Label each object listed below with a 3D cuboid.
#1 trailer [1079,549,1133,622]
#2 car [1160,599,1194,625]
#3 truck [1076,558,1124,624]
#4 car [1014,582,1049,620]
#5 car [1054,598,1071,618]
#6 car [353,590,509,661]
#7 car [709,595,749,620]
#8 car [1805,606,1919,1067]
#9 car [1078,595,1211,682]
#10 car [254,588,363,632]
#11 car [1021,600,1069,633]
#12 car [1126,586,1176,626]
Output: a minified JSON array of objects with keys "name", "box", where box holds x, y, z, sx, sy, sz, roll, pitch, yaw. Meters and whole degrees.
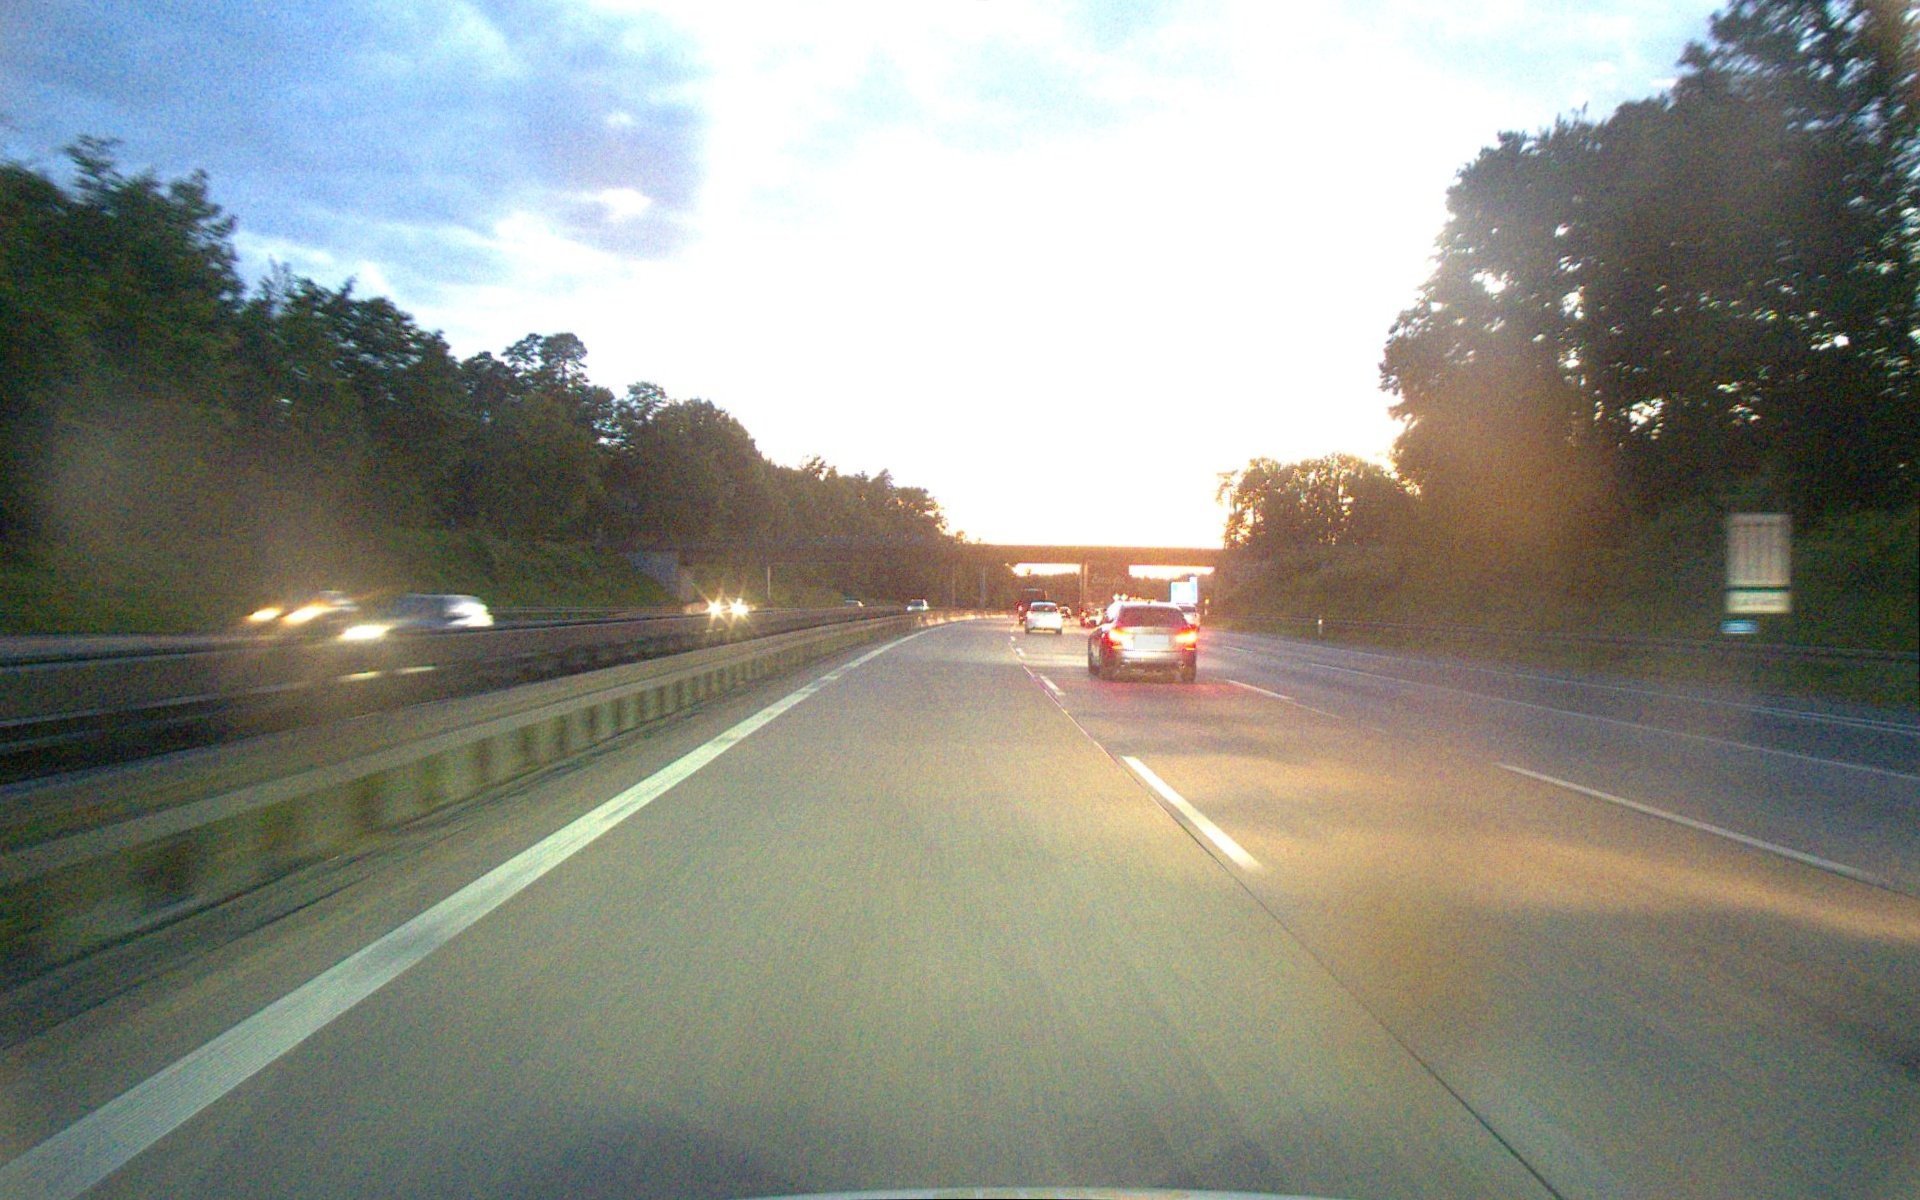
[{"name":"trailer","box":[8.968,-0.784,102.722,2.846,4.173,10.360,1,-1,3]},{"name":"car","box":[12.981,0.740,99.048,1.820,1.467,4.113,1,-1,5]},{"name":"truck","box":[9.496,-0.526,113.293,2.825,4.173,10.834,1,-1,3]},{"name":"car","box":[4.946,0.101,114.108,2.120,2.461,5.566,1,-2,5]},{"name":"car","box":[13.345,1.098,216.157,2.120,2.461,5.565,1,-2,3]},{"name":"car","box":[-11.297,0.507,35.702,1.777,1.405,4.907,1,0,0]},{"name":"car","box":[-14.139,0.445,101.330,1.804,1.480,3.603,1,0,2]},{"name":"car","box":[4.050,0.815,3.567,1.772,1.491,5.131,1,1,-1]},{"name":"car","box":[3.584,0.699,33.067,1.871,1.564,5.229,0,0,-2]},{"name":"car","box":[-22.332,0.318,56.891,1.777,1.405,4.907,1,0,0]},{"name":"car","box":[4.016,0.756,78.548,1.822,1.467,3.717,0,0,-4]},{"name":"car","box":[8.195,0.275,71.319,1.863,1.672,5.054,1,-1,3]}]
